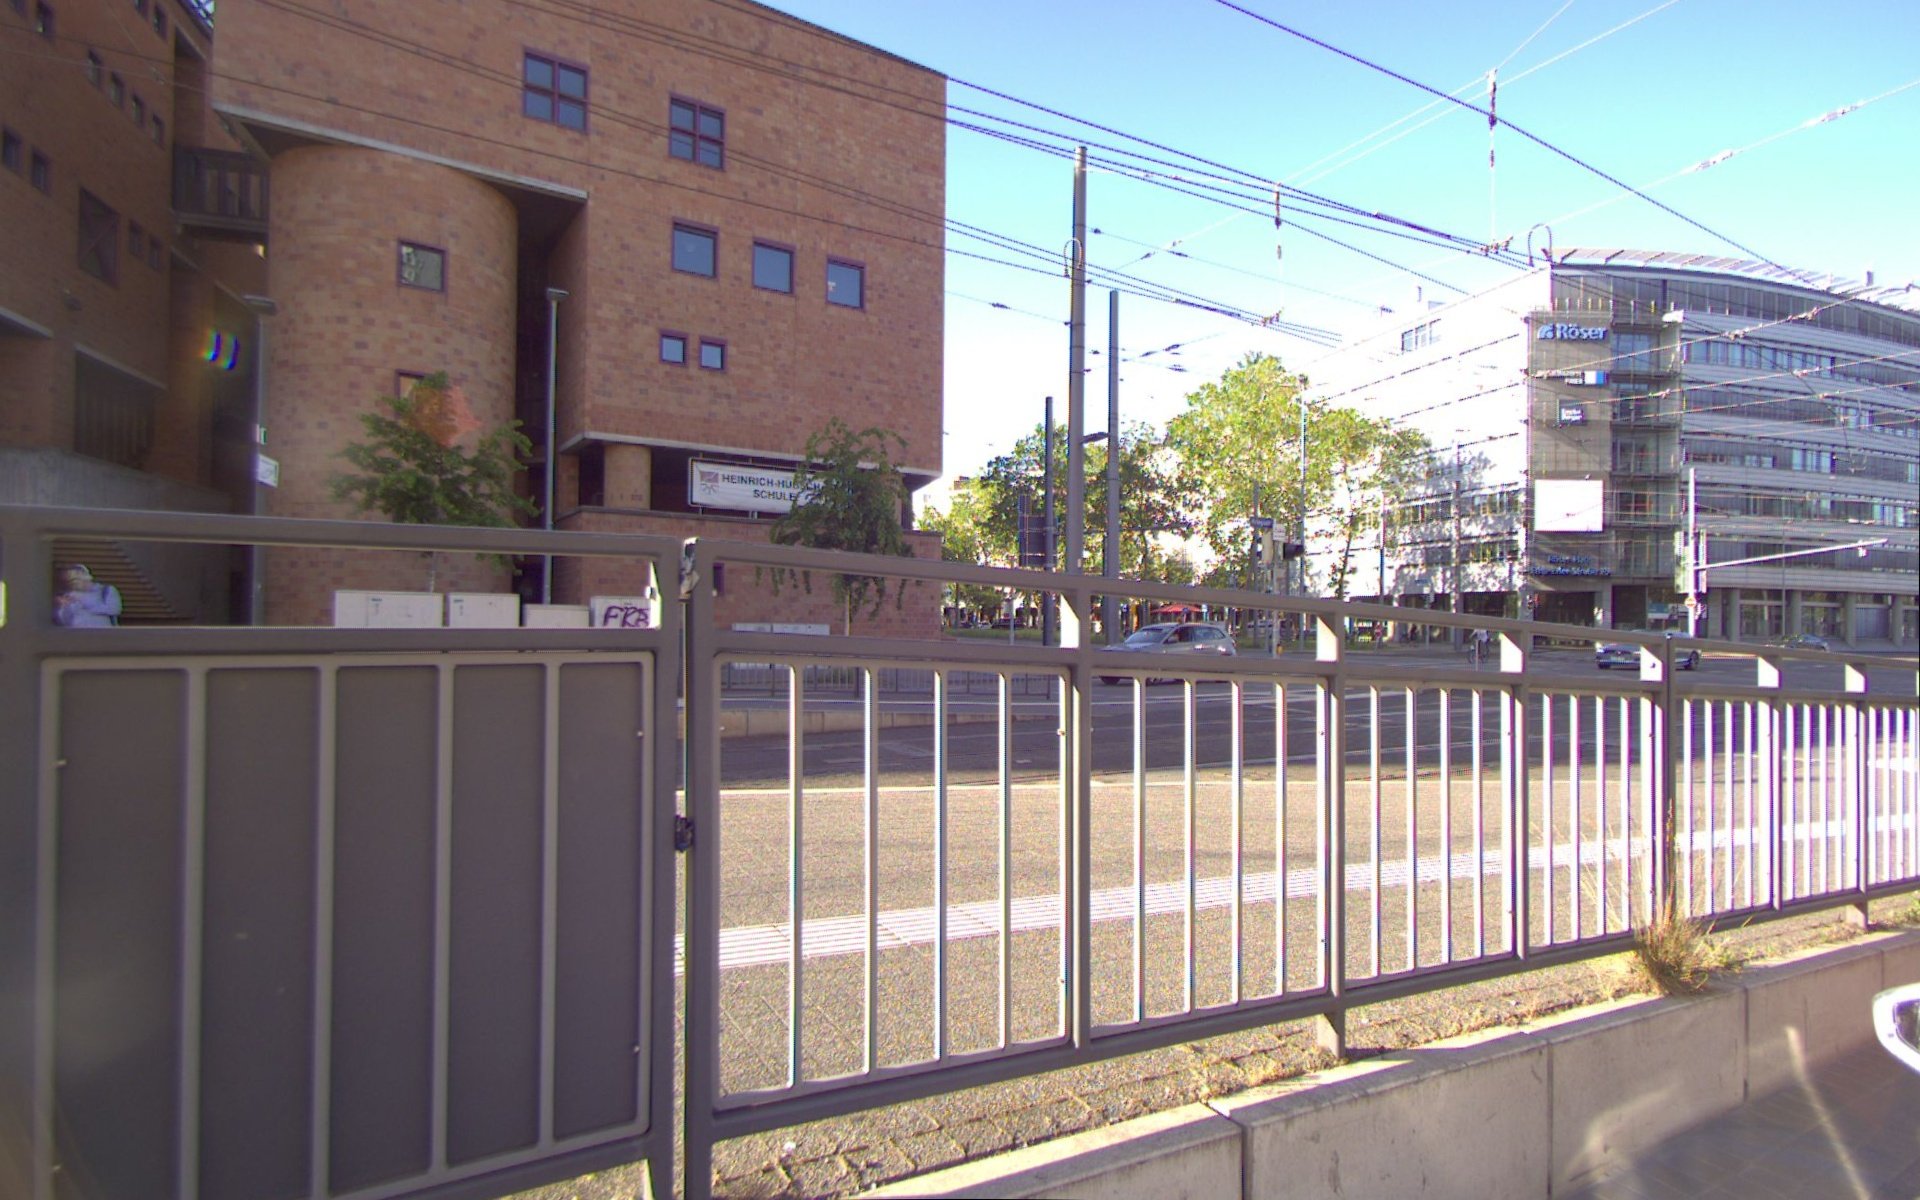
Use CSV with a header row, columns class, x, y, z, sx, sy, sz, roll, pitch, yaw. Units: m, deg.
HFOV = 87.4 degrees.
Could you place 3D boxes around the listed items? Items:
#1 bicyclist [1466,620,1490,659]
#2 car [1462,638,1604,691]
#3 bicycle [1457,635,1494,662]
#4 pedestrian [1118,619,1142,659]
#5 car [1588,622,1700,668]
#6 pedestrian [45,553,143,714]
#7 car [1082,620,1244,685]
class,x,y,z,sx,sy,sz,roll,pitch,yaw
bicyclist,21.347,1.624,41.413,0.642,1.554,0.584,2,0,-30
car,13.999,1.544,24.609,2.841,1.077,1.238,2,0,40
bicycle,21.231,1.998,41.341,1.793,1.104,0.458,2,-3,-30
pedestrian,7.519,1.717,44.367,0.785,1.714,0.587,2,0,-29
car,25.083,1.662,36.779,4.646,1.589,1.814,2,-2,-34
pedestrian,-9.297,0.352,10.811,0.679,1.656,0.662,2,0,-34
car,5.413,1.380,26.612,4.198,1.589,1.814,2,-2,-34
